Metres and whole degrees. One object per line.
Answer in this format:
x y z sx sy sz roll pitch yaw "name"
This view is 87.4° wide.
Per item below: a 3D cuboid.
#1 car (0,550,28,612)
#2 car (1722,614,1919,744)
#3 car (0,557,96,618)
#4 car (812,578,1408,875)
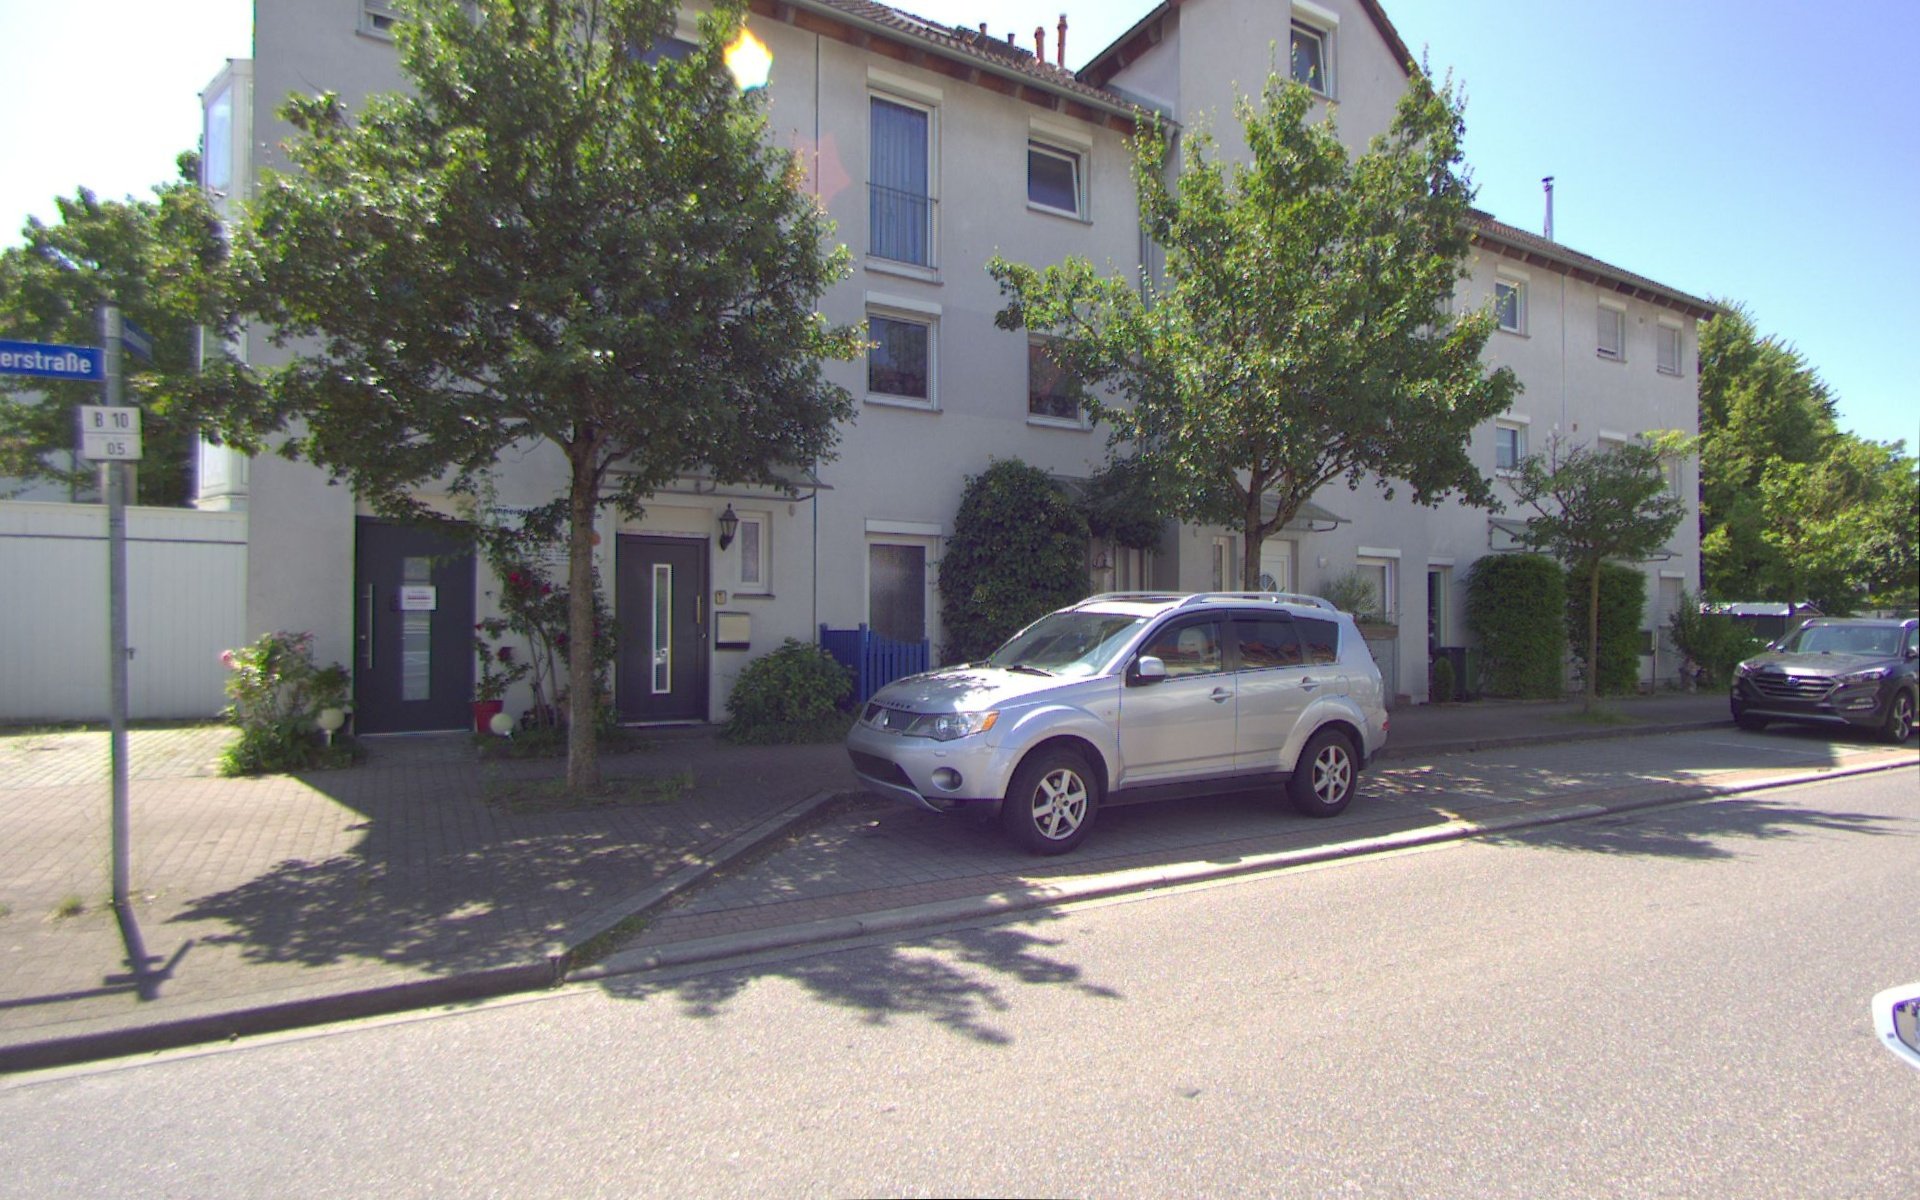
-25.949 -0.526 25.407 1.720 1.645 3.988 3 0 -14 "car"
12.984 1.054 14.573 3.950 1.641 1.684 1 -1 -30 "car"
-23.812 -0.348 25.415 1.668 1.447 3.980 1 1 -21 "car"
1.280 0.768 7.695 4.474 1.709 1.697 1 0 -31 "car"
